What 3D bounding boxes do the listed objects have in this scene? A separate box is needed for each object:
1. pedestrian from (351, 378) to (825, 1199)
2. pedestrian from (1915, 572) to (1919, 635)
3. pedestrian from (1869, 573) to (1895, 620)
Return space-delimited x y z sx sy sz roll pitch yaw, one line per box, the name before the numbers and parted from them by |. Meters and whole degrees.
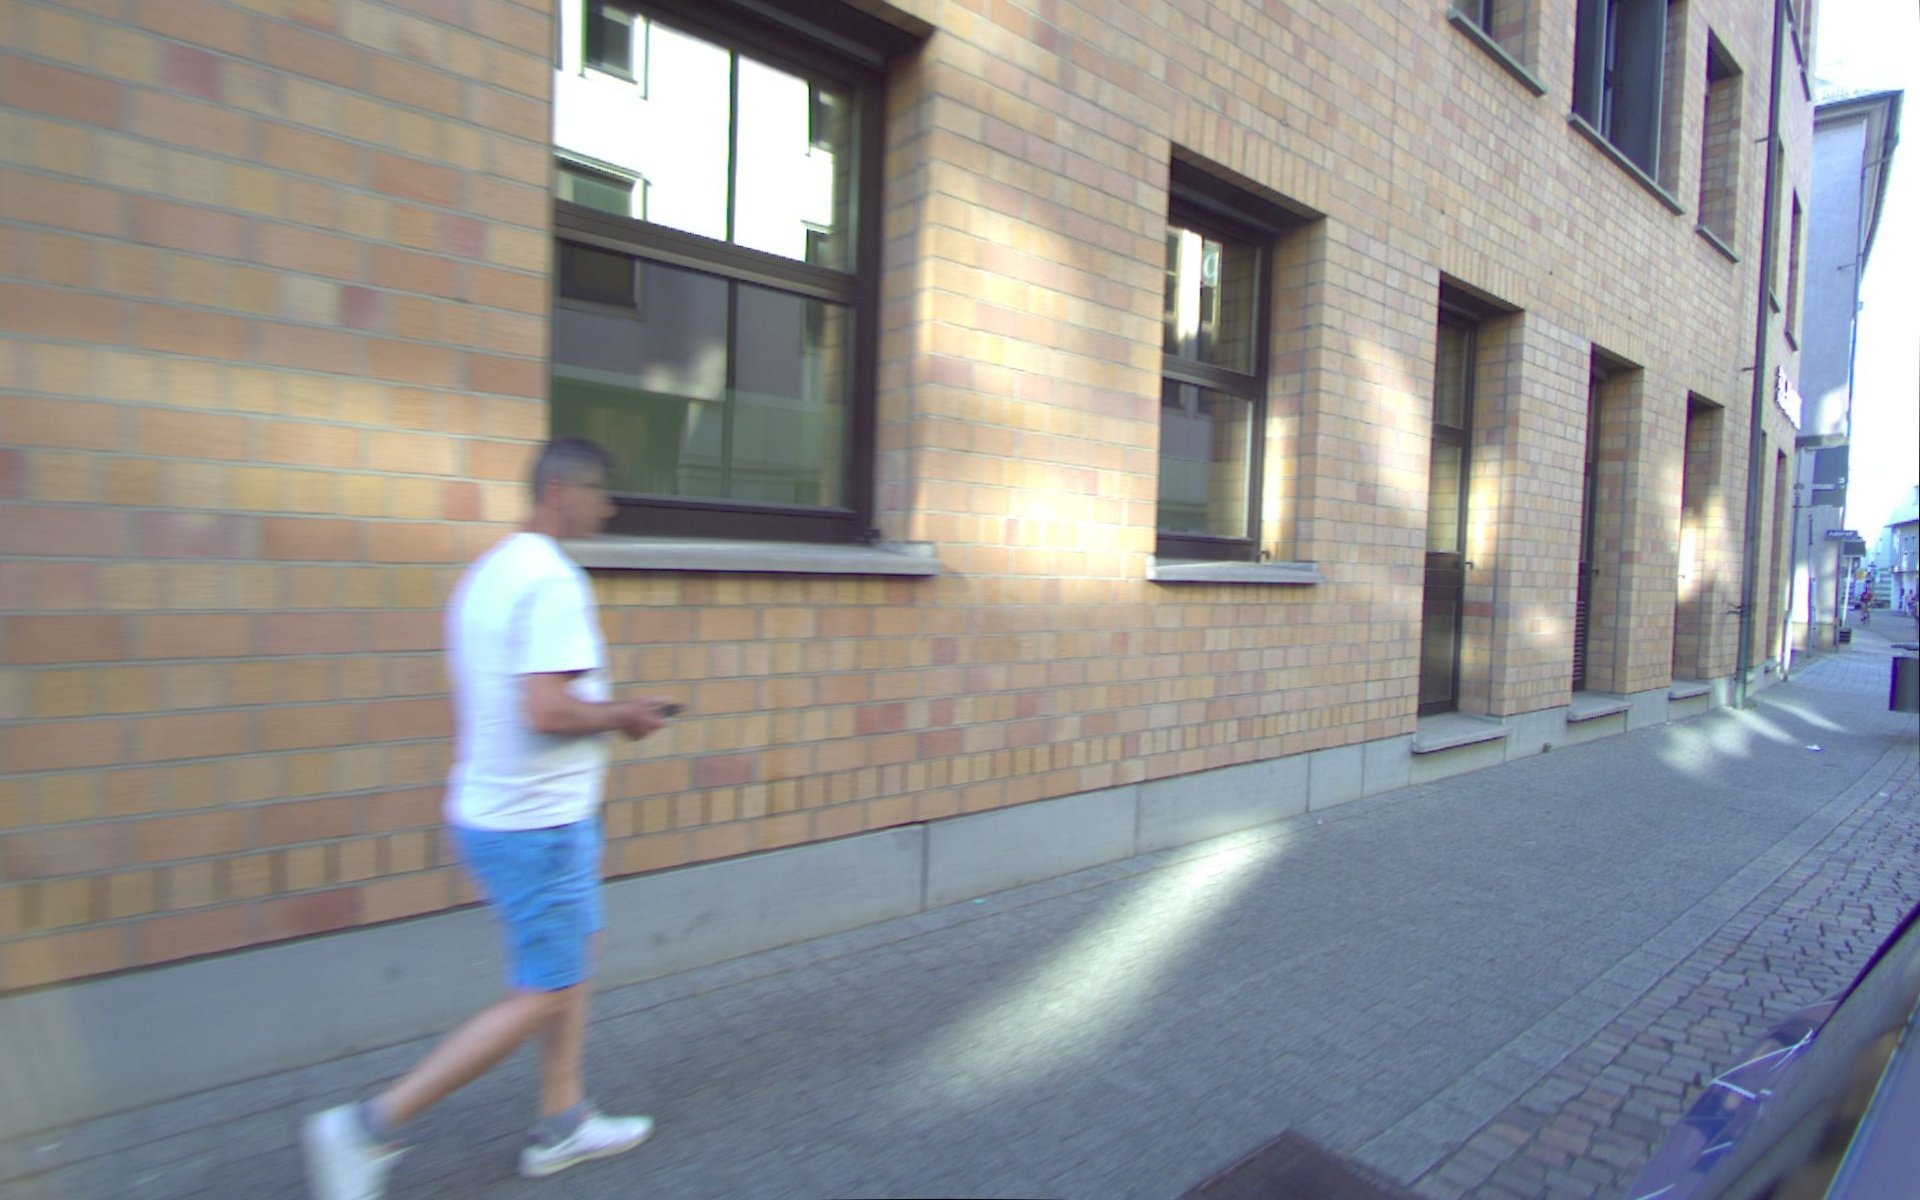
pedestrian | -0.906 0.435 2.415 0.807 1.737 0.762 0 4 -40
pedestrian | 31.572 0.129 32.818 0.712 2.038 0.689 4 3 38
pedestrian | 41.431 -0.174 45.475 0.712 2.038 0.689 4 3 38
